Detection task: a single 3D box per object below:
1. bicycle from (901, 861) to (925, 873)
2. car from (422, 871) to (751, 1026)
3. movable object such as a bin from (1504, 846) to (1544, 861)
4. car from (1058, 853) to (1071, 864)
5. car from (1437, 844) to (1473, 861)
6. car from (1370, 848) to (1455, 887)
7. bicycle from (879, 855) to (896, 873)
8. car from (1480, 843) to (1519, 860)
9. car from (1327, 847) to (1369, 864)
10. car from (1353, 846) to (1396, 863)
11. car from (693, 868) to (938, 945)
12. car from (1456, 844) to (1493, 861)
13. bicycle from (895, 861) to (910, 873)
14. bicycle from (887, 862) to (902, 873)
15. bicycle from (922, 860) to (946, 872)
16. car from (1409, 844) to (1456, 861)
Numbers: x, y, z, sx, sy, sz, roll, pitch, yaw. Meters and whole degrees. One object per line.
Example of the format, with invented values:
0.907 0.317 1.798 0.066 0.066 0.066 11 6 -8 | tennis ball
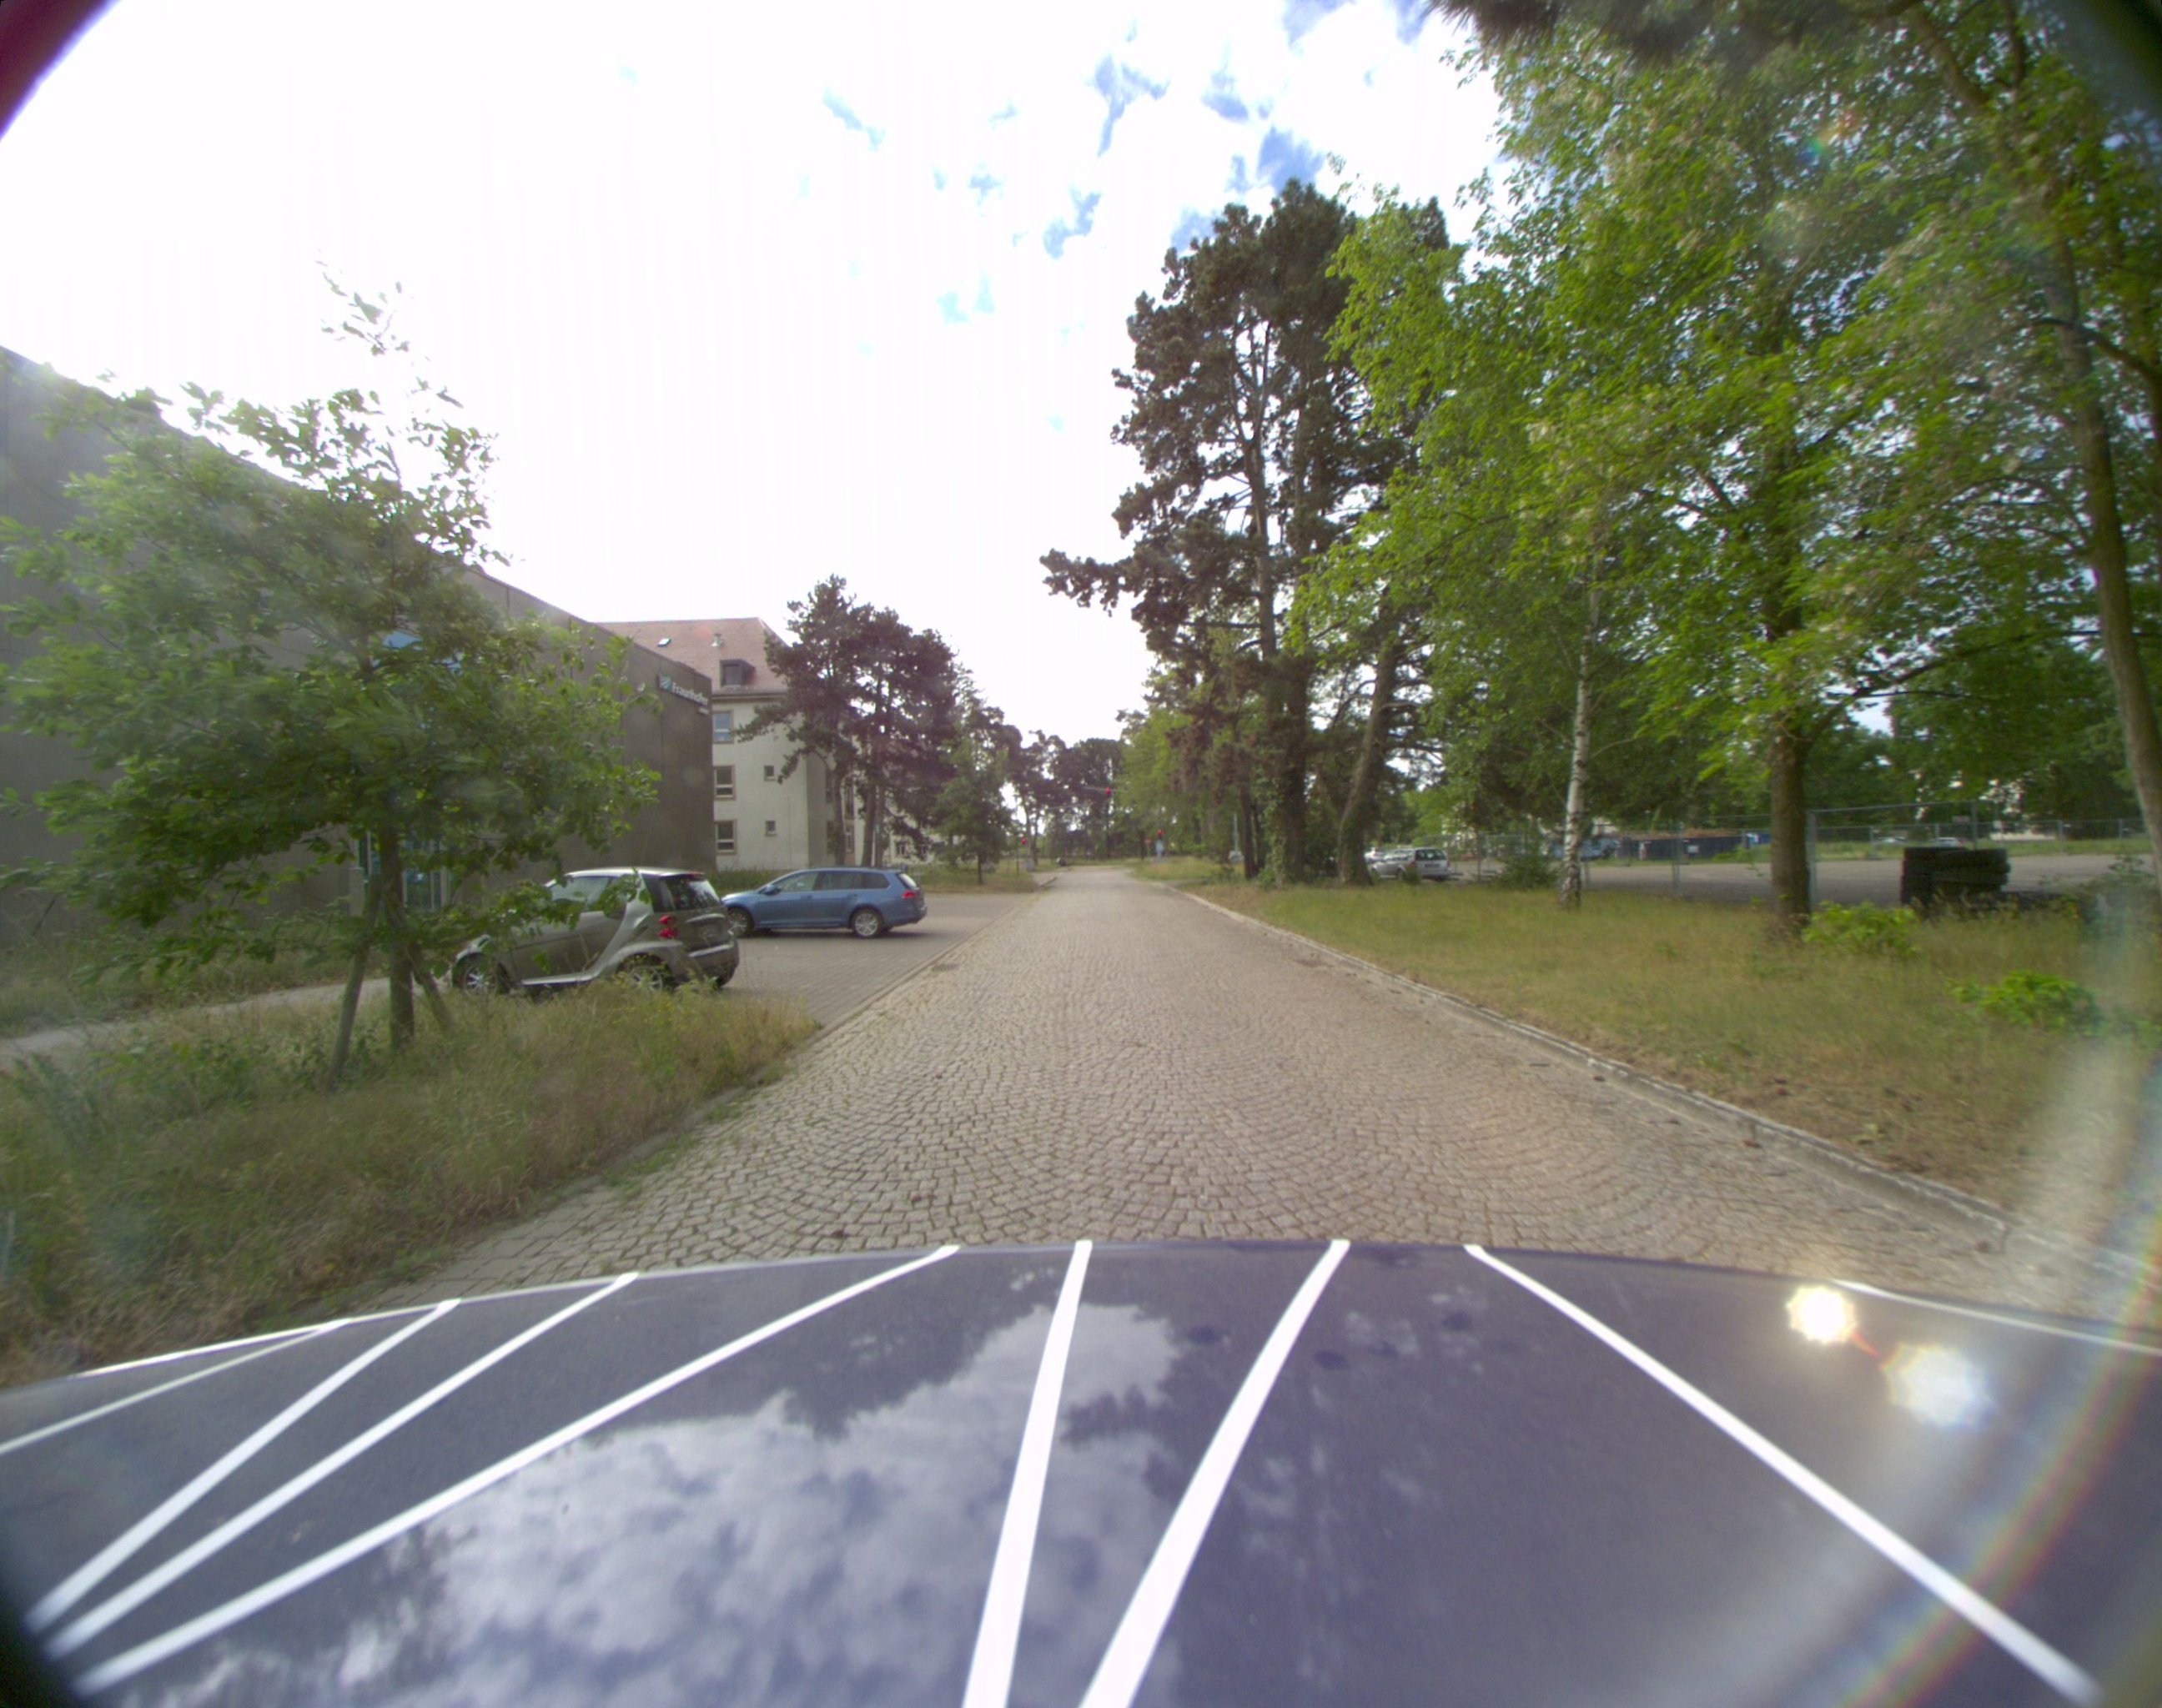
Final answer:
-16.513 1.274 74.713 2.164 1.051 0.717 -1 1 -3 | bicycle
-5.629 1.024 8.923 2.748 1.573 1.683 1 0 1 | car
32.577 -0.017 55.904 1.057 1.064 2.719 -1 0 -8 | movable object such as a bin
-2.848 0.815 131.808 1.999 1.777 3.998 -1 0 -5 | car
38.732 -0.135 78.776 1.611 1.674 3.803 -1 0 -4 | car
13.121 0.497 30.303 1.670 1.402 3.723 -1 0 -2 | car
-19.402 1.003 76.166 0.905 1.722 2.199 -1 0 4 | bicycle
43.447 -0.287 79.004 1.749 1.674 3.803 -1 0 -4 | car
23.761 0.111 67.726 1.999 1.441 4.452 -1 0 -2 | car
26.274 0.026 68.171 1.999 1.441 4.452 -1 0 -2 | car
-5.508 1.073 16.218 4.537 1.441 1.931 1 0 -1 | car
40.735 -0.199 78.739 1.611 1.674 3.803 -1 0 -4 | car
-17.789 1.297 75.805 0.799 1.051 2.166 -1 0 4 | bicycle
-18.638 1.320 75.825 0.799 1.051 2.199 -1 0 4 | bicycle
-14.432 1.192 74.627 2.164 1.088 0.717 -1 1 -3 | bicycle
31.745 -0.152 68.722 1.999 1.441 4.452 -1 0 -2 | car
